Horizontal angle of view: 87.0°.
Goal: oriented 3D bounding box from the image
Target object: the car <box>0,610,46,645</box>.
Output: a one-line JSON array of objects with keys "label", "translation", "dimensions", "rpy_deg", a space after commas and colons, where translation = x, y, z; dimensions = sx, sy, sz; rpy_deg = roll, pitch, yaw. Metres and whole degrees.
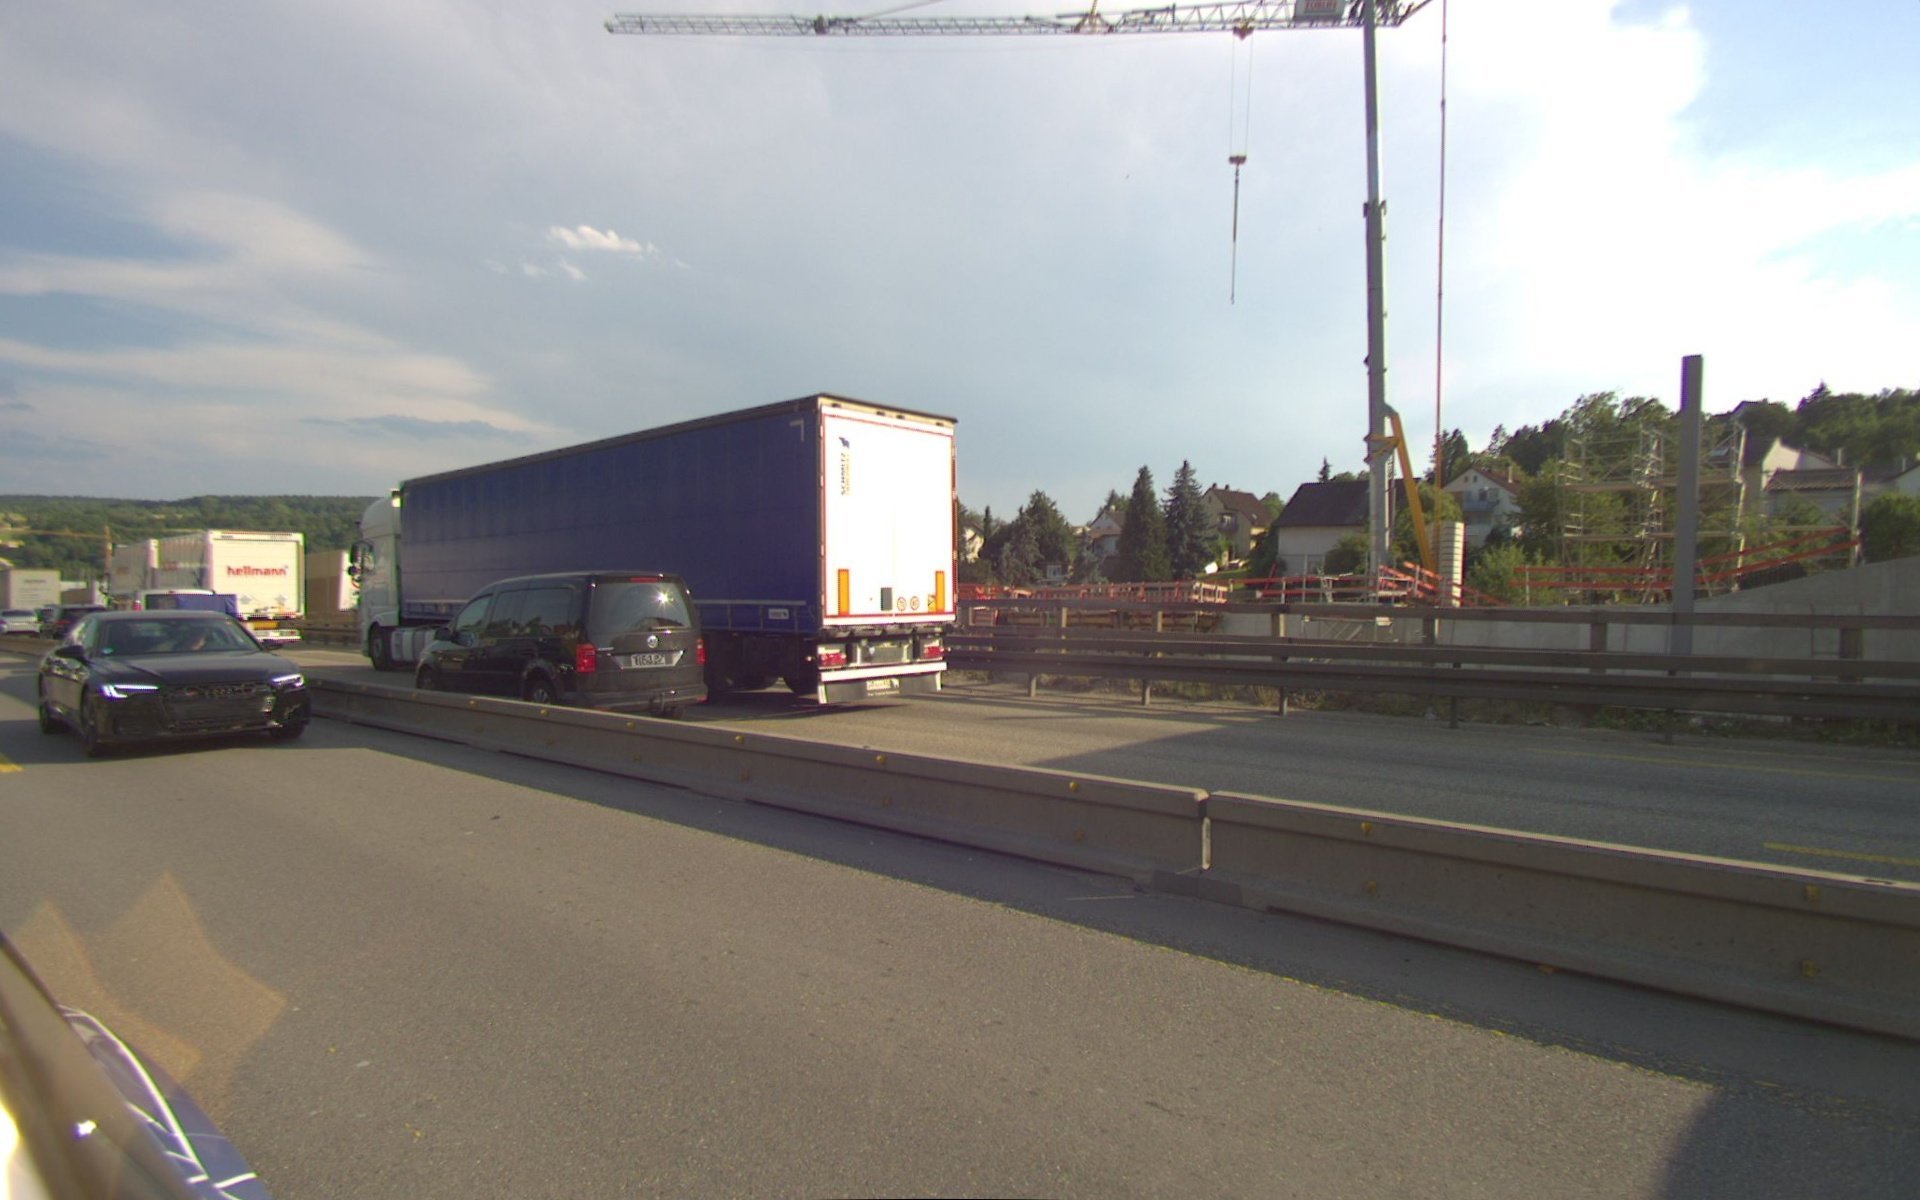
[{"label": "car", "translation": [-44.245, 1.272, 47.281], "dimensions": [3.998, 1.519, 1.864], "rpy_deg": [-1, 0, 41]}]

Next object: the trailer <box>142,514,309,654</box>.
[{"label": "trailer", "translation": [-25.575, -0.480, 35.031], "dimensions": [8.732, 4.315, 2.798], "rpy_deg": [-1, 0, 41]}]

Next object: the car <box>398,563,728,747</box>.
[{"label": "car", "translation": [-5.053, 0.559, 12.497], "dimensions": [4.851, 1.857, 1.762], "rpy_deg": [-1, 0, 41]}]

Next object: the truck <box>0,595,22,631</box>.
[{"label": "truck", "translation": [-75.356, 0.999, 78.840], "dimensions": [7.356, 2.718, 2.659], "rpy_deg": [-1, 0, 41]}]

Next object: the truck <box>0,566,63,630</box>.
[{"label": "truck", "translation": [-63.290, -0.090, 68.546], "dimensions": [7.595, 4.092, 2.836], "rpy_deg": [-1, 0, 41]}]

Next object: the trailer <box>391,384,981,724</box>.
[{"label": "trailer", "translation": [-5.827, -0.520, 17.783], "dimensions": [13.769, 4.067, 2.895], "rpy_deg": [-1, 0, 42]}]

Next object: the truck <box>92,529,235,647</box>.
[{"label": "truck", "translation": [-32.630, -0.410, 41.270], "dimensions": [10.068, 4.295, 2.798], "rpy_deg": [-1, 0, 41]}]

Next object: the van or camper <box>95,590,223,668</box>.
[{"label": "van or camper", "translation": [-21.698, 0.727, 27.323], "dimensions": [5.001, 1.906, 1.844], "rpy_deg": [-1, 0, 41]}]

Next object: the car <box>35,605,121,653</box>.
[{"label": "car", "translation": [-31.742, 1.014, 36.388], "dimensions": [3.998, 1.586, 1.837], "rpy_deg": [-1, 0, 41]}]

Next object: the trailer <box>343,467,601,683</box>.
[{"label": "trailer", "translation": [-10.814, -0.469, 22.175], "dimensions": [6.220, 4.067, 2.895], "rpy_deg": [-1, 0, 41]}]

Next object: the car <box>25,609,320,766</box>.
[{"label": "car", "translation": [-8.997, 0.829, 11.420], "dimensions": [4.347, 1.430, 1.849], "rpy_deg": [-1, -1, 41]}]

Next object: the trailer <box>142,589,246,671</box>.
[{"label": "trailer", "translation": [-18.684, 0.697, 24.650], "dimensions": [2.983, 1.868, 1.433], "rpy_deg": [-1, 0, 41]}]
